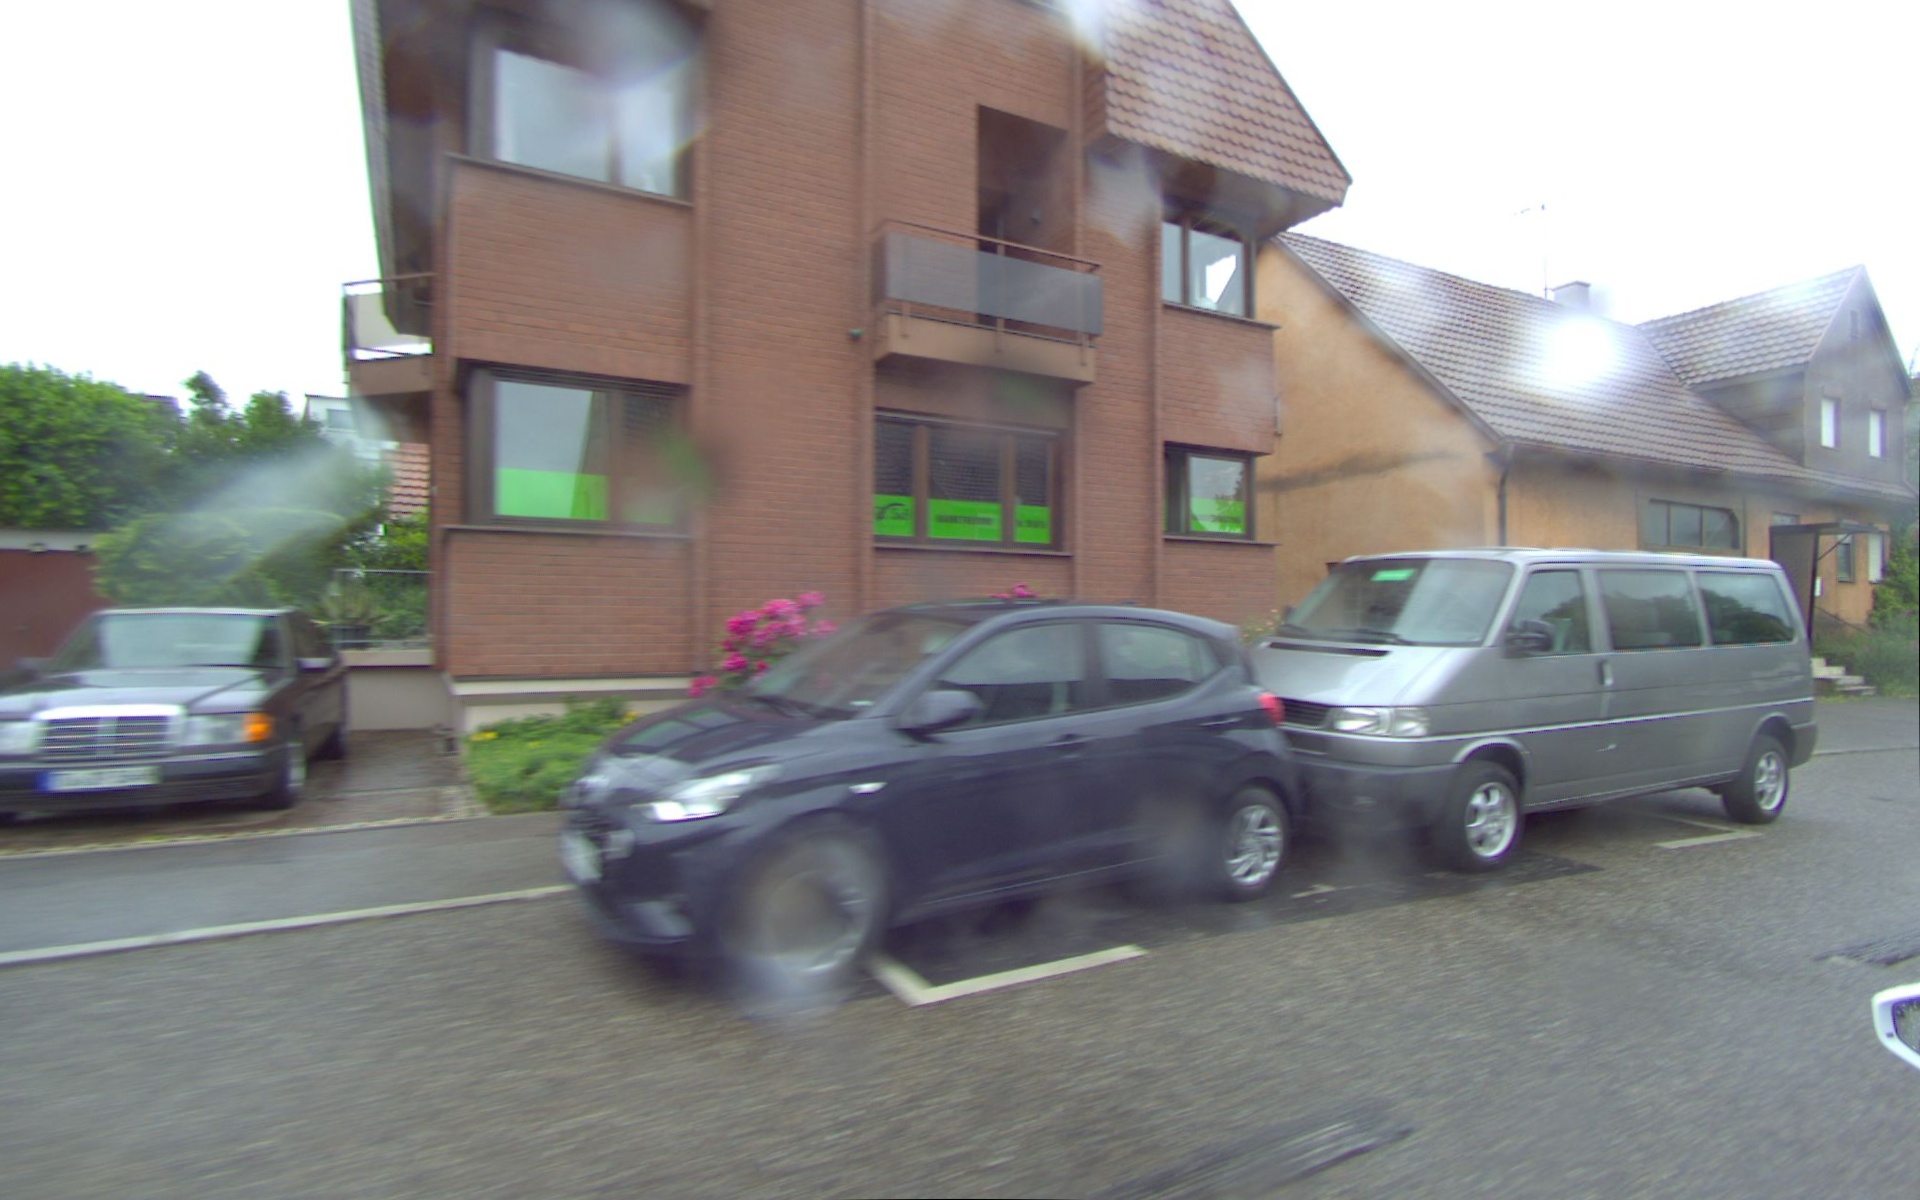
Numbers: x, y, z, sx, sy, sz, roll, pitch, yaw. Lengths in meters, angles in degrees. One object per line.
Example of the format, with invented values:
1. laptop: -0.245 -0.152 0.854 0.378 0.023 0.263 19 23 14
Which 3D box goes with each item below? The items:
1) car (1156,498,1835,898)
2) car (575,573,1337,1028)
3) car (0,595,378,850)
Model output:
1. car: 3.990 0.572 7.200 5.151 2.040 1.814 1 -2 -29
2. car: 0.104 0.725 4.999 3.529 1.516 1.569 2 -2 -33
3. car: -5.756 0.756 7.736 1.765 1.421 4.161 1 -2 -24
